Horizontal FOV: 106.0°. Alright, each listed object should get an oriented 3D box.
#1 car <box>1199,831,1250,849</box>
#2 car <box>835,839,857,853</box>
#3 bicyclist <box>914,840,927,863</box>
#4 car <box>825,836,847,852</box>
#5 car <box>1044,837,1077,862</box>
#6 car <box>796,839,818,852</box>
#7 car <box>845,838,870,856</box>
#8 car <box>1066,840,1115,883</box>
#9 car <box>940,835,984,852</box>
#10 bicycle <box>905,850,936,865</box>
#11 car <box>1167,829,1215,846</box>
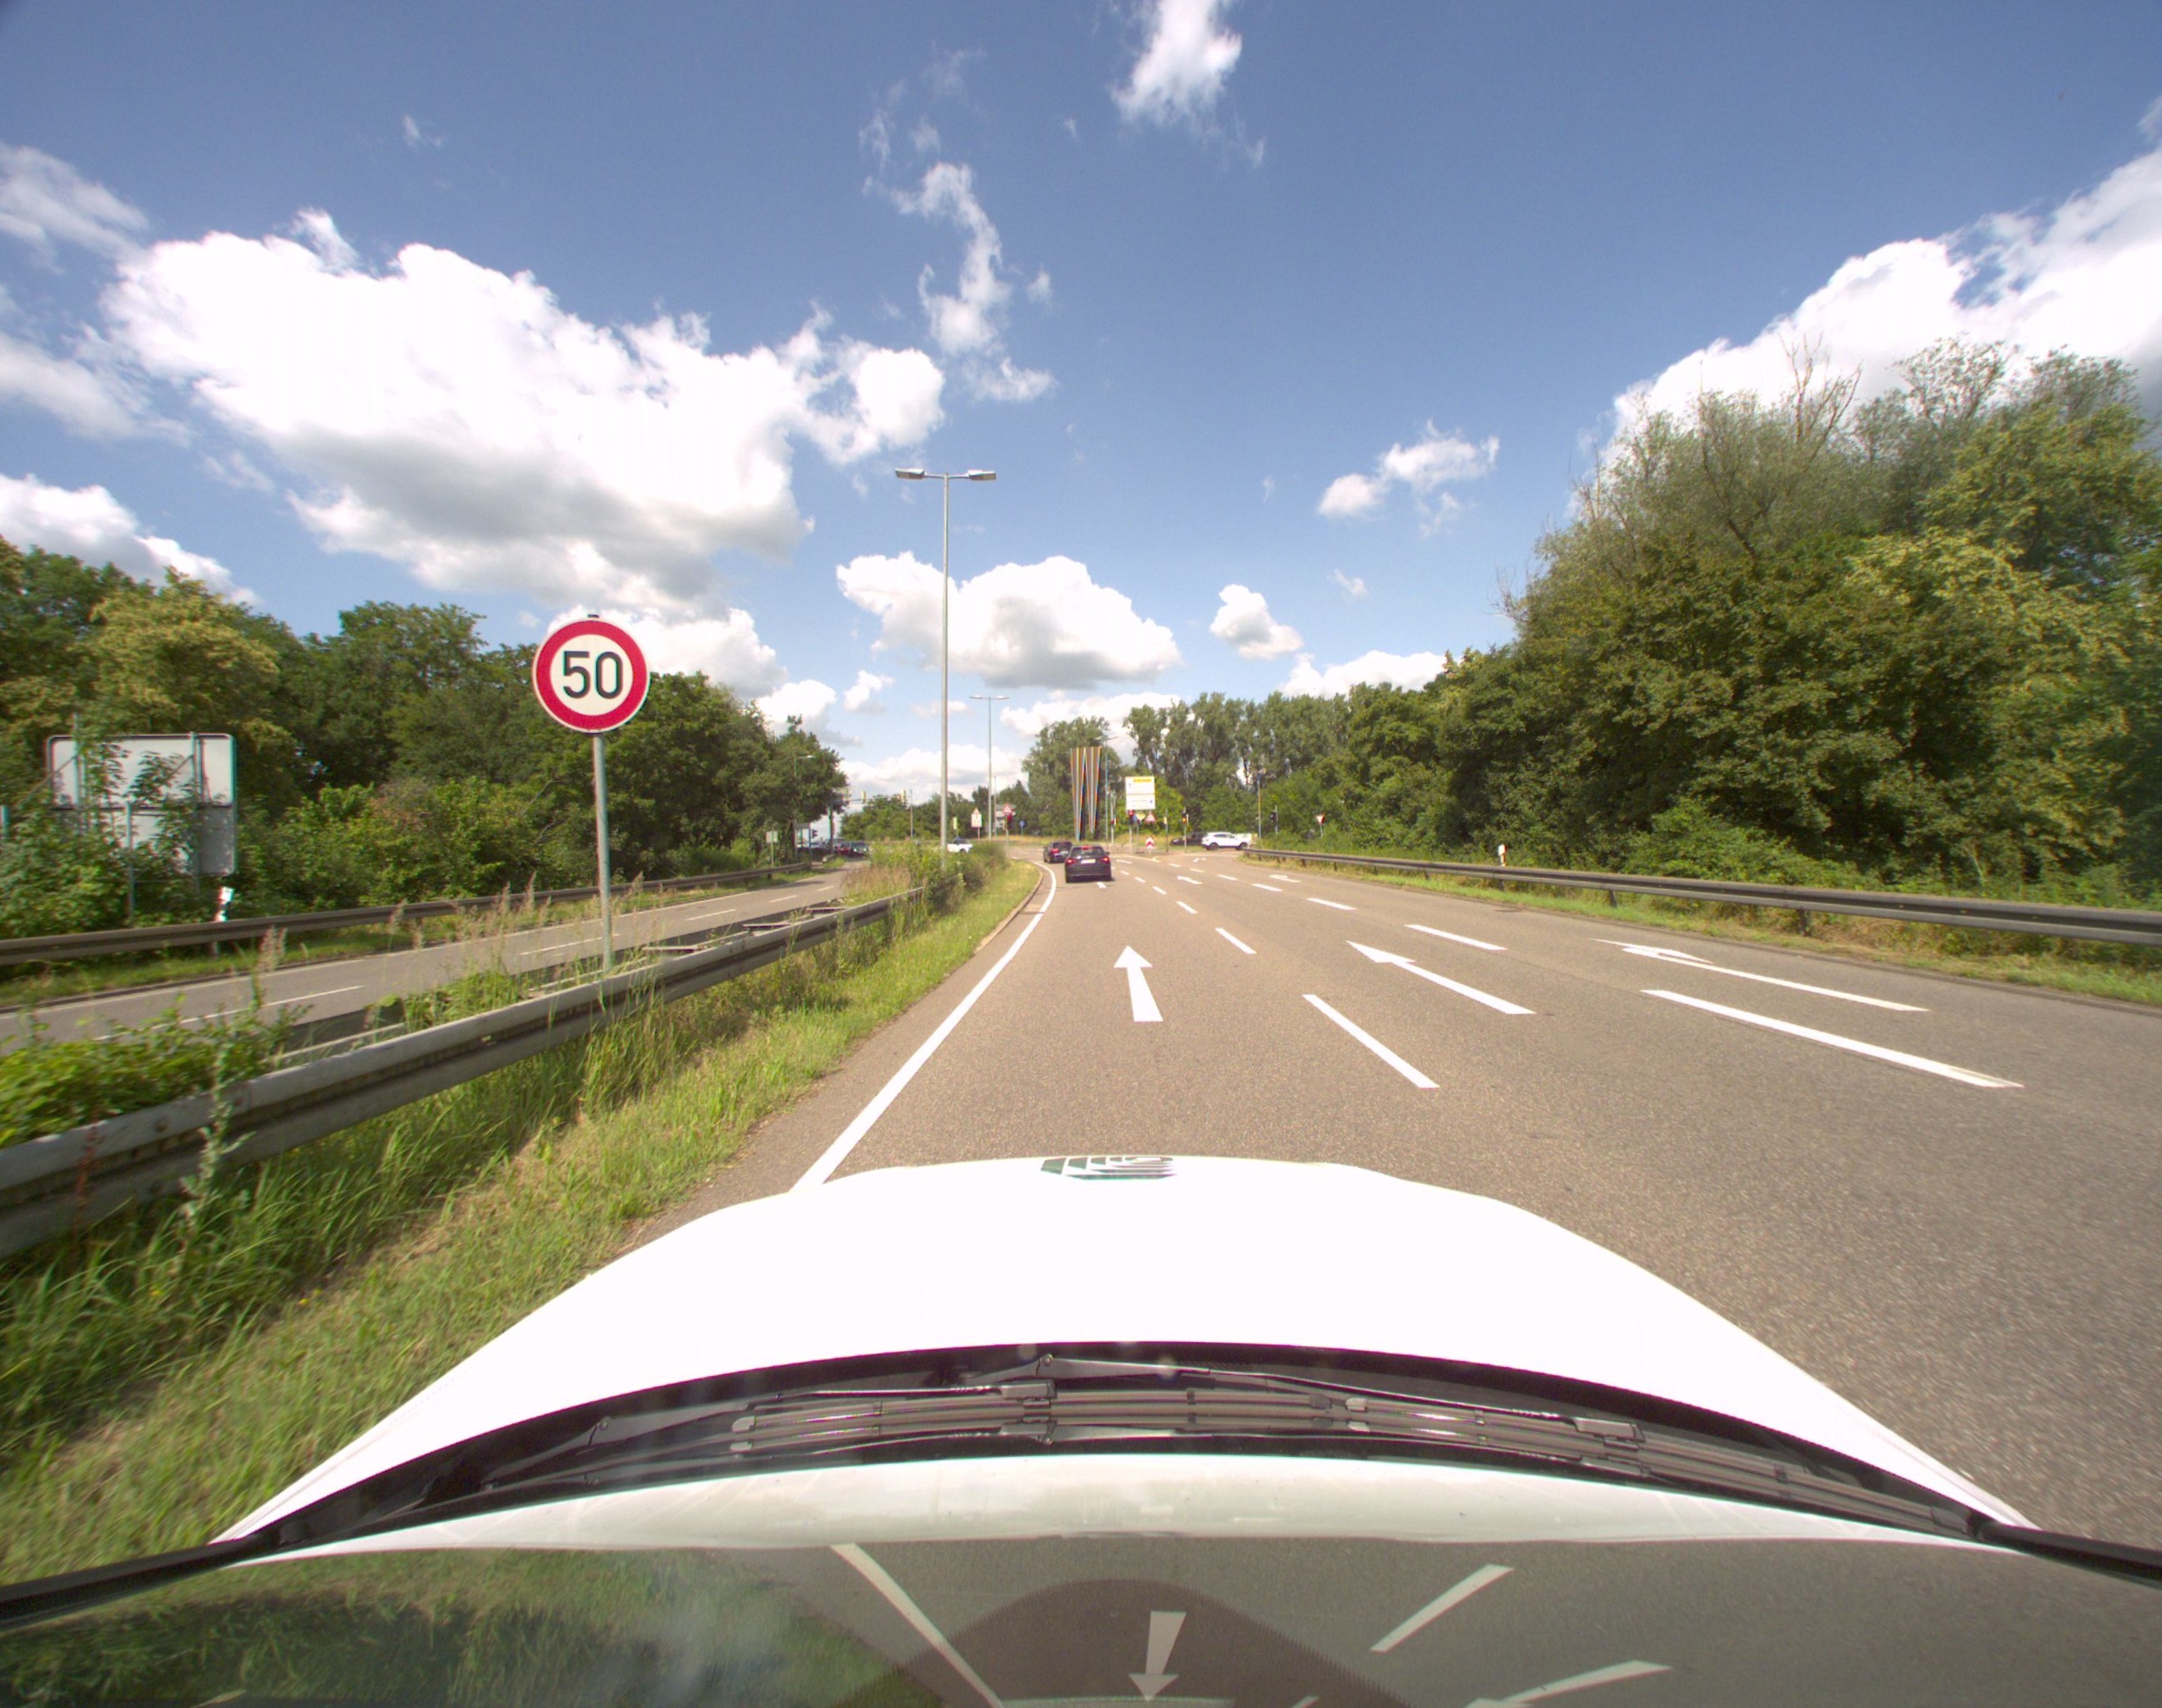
[{"bbox_3d":[12.372,-1.172,70.307,4.015,1.509,1.954,0,0,-3],"label":"car"},{"bbox_3d":[-25.888,-0.849,89.713,1.740,1.476,4.014,-2,2,-25],"label":"car"},{"bbox_3d":[-11.291,-0.198,57.355,0.833,1.560,0.670,-2,1,-8],"label":"bicyclist"},{"bbox_3d":[-28.843,-1.153,95.816,1.852,1.801,4.291,-2,2,-25],"label":"car"},{"bbox_3d":[-1.386,-0.324,53.450,1.725,1.423,3.835,-4,2,-8],"label":"car"},{"bbox_3d":[-36.793,-1.161,109.296,1.855,1.705,4.286,-3,2,-29],"label":"car"},{"bbox_3d":[-22.623,-0.720,82.396,1.848,1.618,3.968,-3,0,-24],"label":"car"},{"bbox_3d":[0.311,0.242,31.629,1.721,1.404,3.998,-4,2,-1],"label":"car"},{"bbox_3d":[-10.862,-0.965,74.215,3.995,1.476,1.748,1,1,40],"label":"car"},{"bbox_3d":[-11.281,0.242,57.362,2.051,1.023,0.670,-2,1,-9],"label":"bicycle"},{"bbox_3d":[10.671,-1.602,79.071,4.261,1.544,1.734,-2,1,-5],"label":"car"}]
